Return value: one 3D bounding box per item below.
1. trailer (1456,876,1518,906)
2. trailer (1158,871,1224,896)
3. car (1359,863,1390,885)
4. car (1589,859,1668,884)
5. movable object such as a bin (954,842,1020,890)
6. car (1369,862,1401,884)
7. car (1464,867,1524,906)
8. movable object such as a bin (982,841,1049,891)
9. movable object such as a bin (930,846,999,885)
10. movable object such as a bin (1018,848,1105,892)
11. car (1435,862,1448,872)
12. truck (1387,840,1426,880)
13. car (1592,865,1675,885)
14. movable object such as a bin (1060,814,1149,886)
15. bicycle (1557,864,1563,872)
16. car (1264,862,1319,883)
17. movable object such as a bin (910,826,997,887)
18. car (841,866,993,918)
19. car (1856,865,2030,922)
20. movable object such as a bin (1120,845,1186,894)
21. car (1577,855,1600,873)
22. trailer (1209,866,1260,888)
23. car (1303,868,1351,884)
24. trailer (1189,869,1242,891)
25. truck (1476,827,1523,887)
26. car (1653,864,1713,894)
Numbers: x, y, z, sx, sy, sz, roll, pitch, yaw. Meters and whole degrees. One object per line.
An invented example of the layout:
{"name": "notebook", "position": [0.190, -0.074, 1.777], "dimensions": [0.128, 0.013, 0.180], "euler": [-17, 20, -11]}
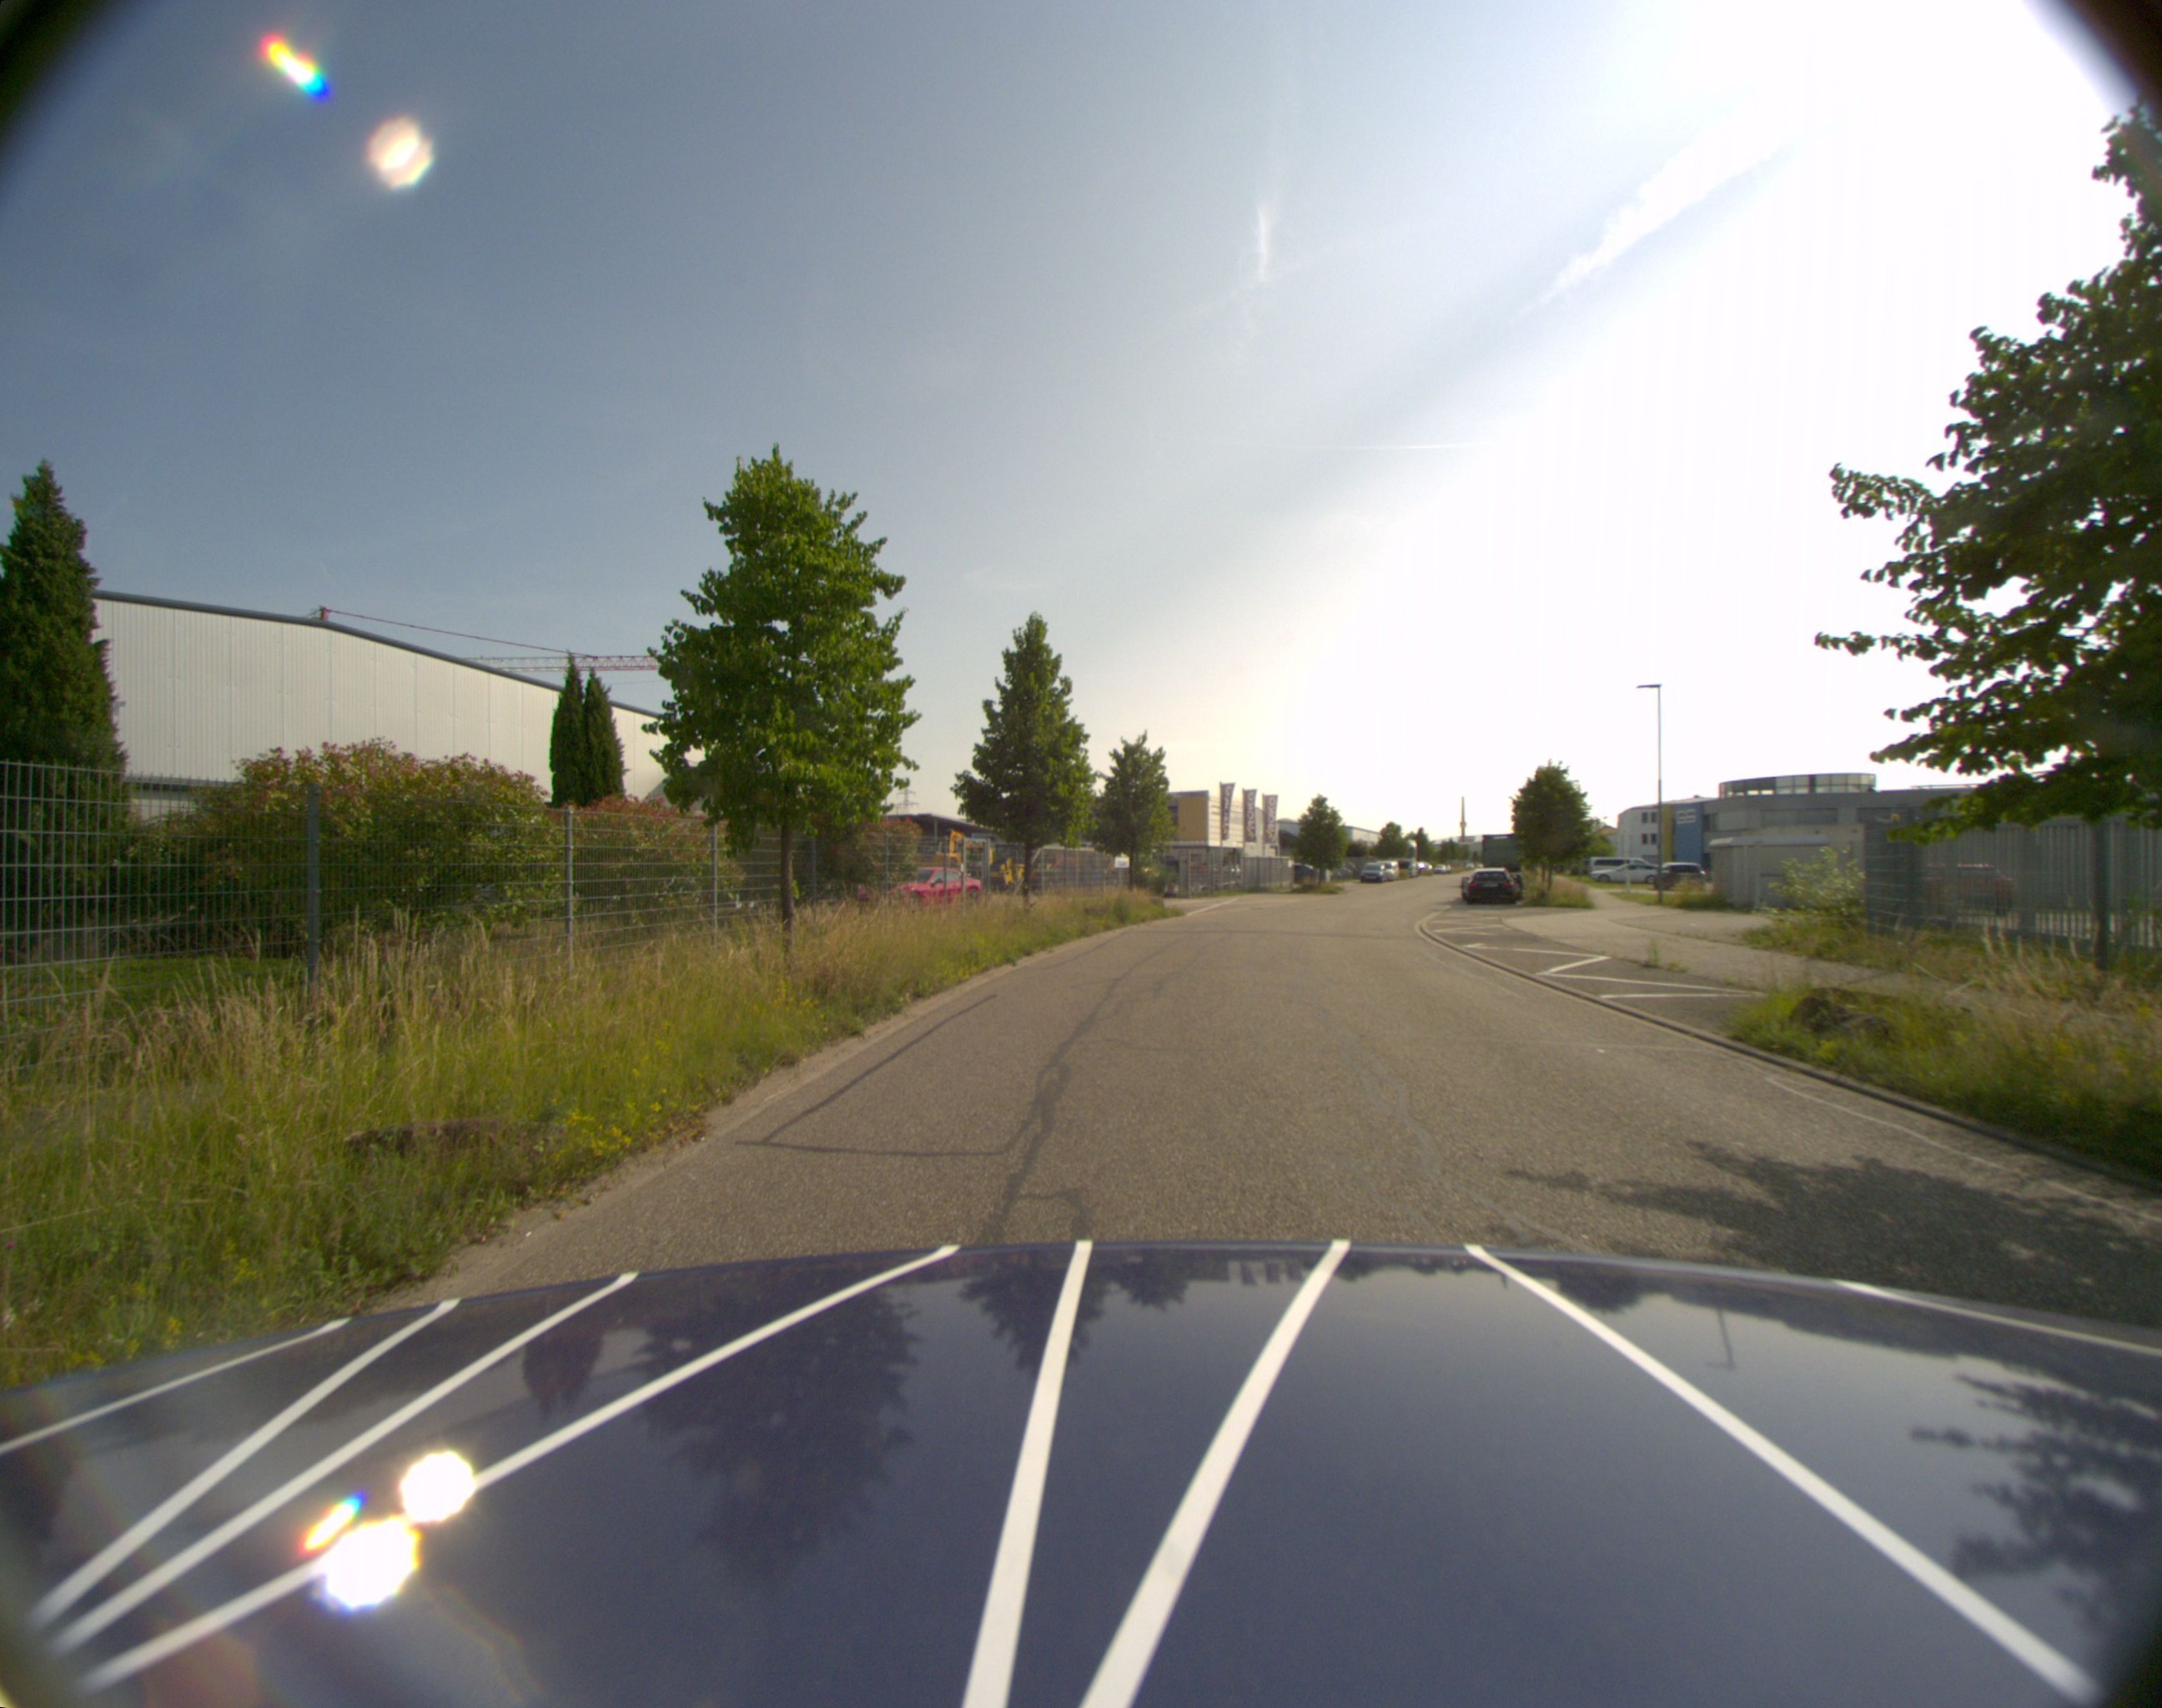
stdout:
{"name": "trailer", "position": [19.897, 1.750, 37.030], "dimensions": [2.131, 1.225, 7.172], "euler": [-3, -2, 32]}
{"name": "trailer", "position": [6.247, 1.596, 42.729], "dimensions": [2.127, 1.236, 4.805], "euler": [0, 0, 28]}
{"name": "car", "position": [24.848, 1.659, 64.273], "dimensions": [1.827, 1.710, 4.257], "euler": [-1, 0, 29]}
{"name": "car", "position": [41.839, 1.325, 58.246], "dimensions": [4.707, 1.825, 2.107], "euler": [-1, 0, 30]}
{"name": "movable object such as a bin", "position": [-6.029, 0.763, 49.365], "dimensions": [1.994, 3.013, 4.382], "euler": [0, 0, 30]}
{"name": "car", "position": [27.381, 1.677, 68.398], "dimensions": [1.995, 1.779, 4.608], "euler": [-1, 0, 31]}
{"name": "car", "position": [17.195, 1.301, 31.507], "dimensions": [1.995, 1.458, 4.441], "euler": [-2, -1, 30]}
{"name": "movable object such as a bin", "position": [-4.096, 0.720, 48.055], "dimensions": [1.994, 3.013, 4.501], "euler": [0, 0, 30]}
{"name": "movable object such as a bin", "position": [-8.648, 0.851, 57.000], "dimensions": [2.055, 2.752, 5.702], "euler": [0, 0, 28]}
{"name": "movable object such as a bin", "position": [-1.104, 0.921, 46.309], "dimensions": [2.924, 2.477, 5.349], "euler": [0, 0, 30]}
{"name": "car", "position": [56.678, 1.993, 119.470], "dimensions": [1.665, 1.495, 3.548], "euler": [2, 0, 29]}
{"name": "truck", "position": [35.531, 0.637, 82.746], "dimensions": [2.747, 3.992, 9.706], "euler": [2, 0, 29]}
{"name": "car", "position": [40.522, 1.532, 55.837], "dimensions": [4.729, 1.422, 2.004], "euler": [-1, 0, 29]}
{"name": "movable object such as a bin", "position": [1.830, -0.226, 54.798], "dimensions": [3.318, 4.777, 7.688], "euler": [0, -1, 28]}
{"name": "bicycle", "position": [56.458, 1.676, 89.633], "dimensions": [0.540, 0.973, 1.874], "euler": [-1, -1, 34]}
{"name": "car", "position": [17.540, 1.541, 63.322], "dimensions": [4.228, 1.727, 1.903], "euler": [-1, 0, 23]}
{"name": "movable object such as a bin", "position": [-8.444, 0.198, 51.042], "dimensions": [2.685, 3.851, 5.730], "euler": [0, 0, 30]}
{"name": "car", "position": [-4.759, 1.049, 22.828], "dimensions": [1.882, 1.349, 4.782], "euler": [-1, -1, 26]}
{"name": "car", "position": [25.180, 1.113, 22.421], "dimensions": [1.771, 1.516, 4.313], "euler": [-1, -2, 24]}
{"name": "movable object such as a bin", "position": [4.357, 0.862, 45.167], "dimensions": [1.888, 2.736, 5.170], "euler": [0, 0, 30]}
{"name": "car", "position": [58.731, 1.178, 87.959], "dimensions": [1.883, 2.001, 5.001], "euler": [0, -1, 30]}
{"name": "trailer", "position": [10.410, 1.551, 51.244], "dimensions": [1.995, 1.303, 4.572], "euler": [-1, 0, 31]}
{"name": "car", "position": [22.954, 2.066, 70.827], "dimensions": [3.990, 1.363, 1.794], "euler": [-2, -1, 25]}
{"name": "trailer", "position": [8.369, 1.564, 47.001], "dimensions": [1.945, 1.236, 4.302], "euler": [0, 0, 28]}
{"name": "truck", "position": [30.009, 0.156, 54.263], "dimensions": [2.457, 3.858, 9.821], "euler": [-2, -1, 31]}
{"name": "car", "position": [35.737, 1.424, 45.213], "dimensions": [1.995, 1.676, 4.708], "euler": [0, 0, 28]}
